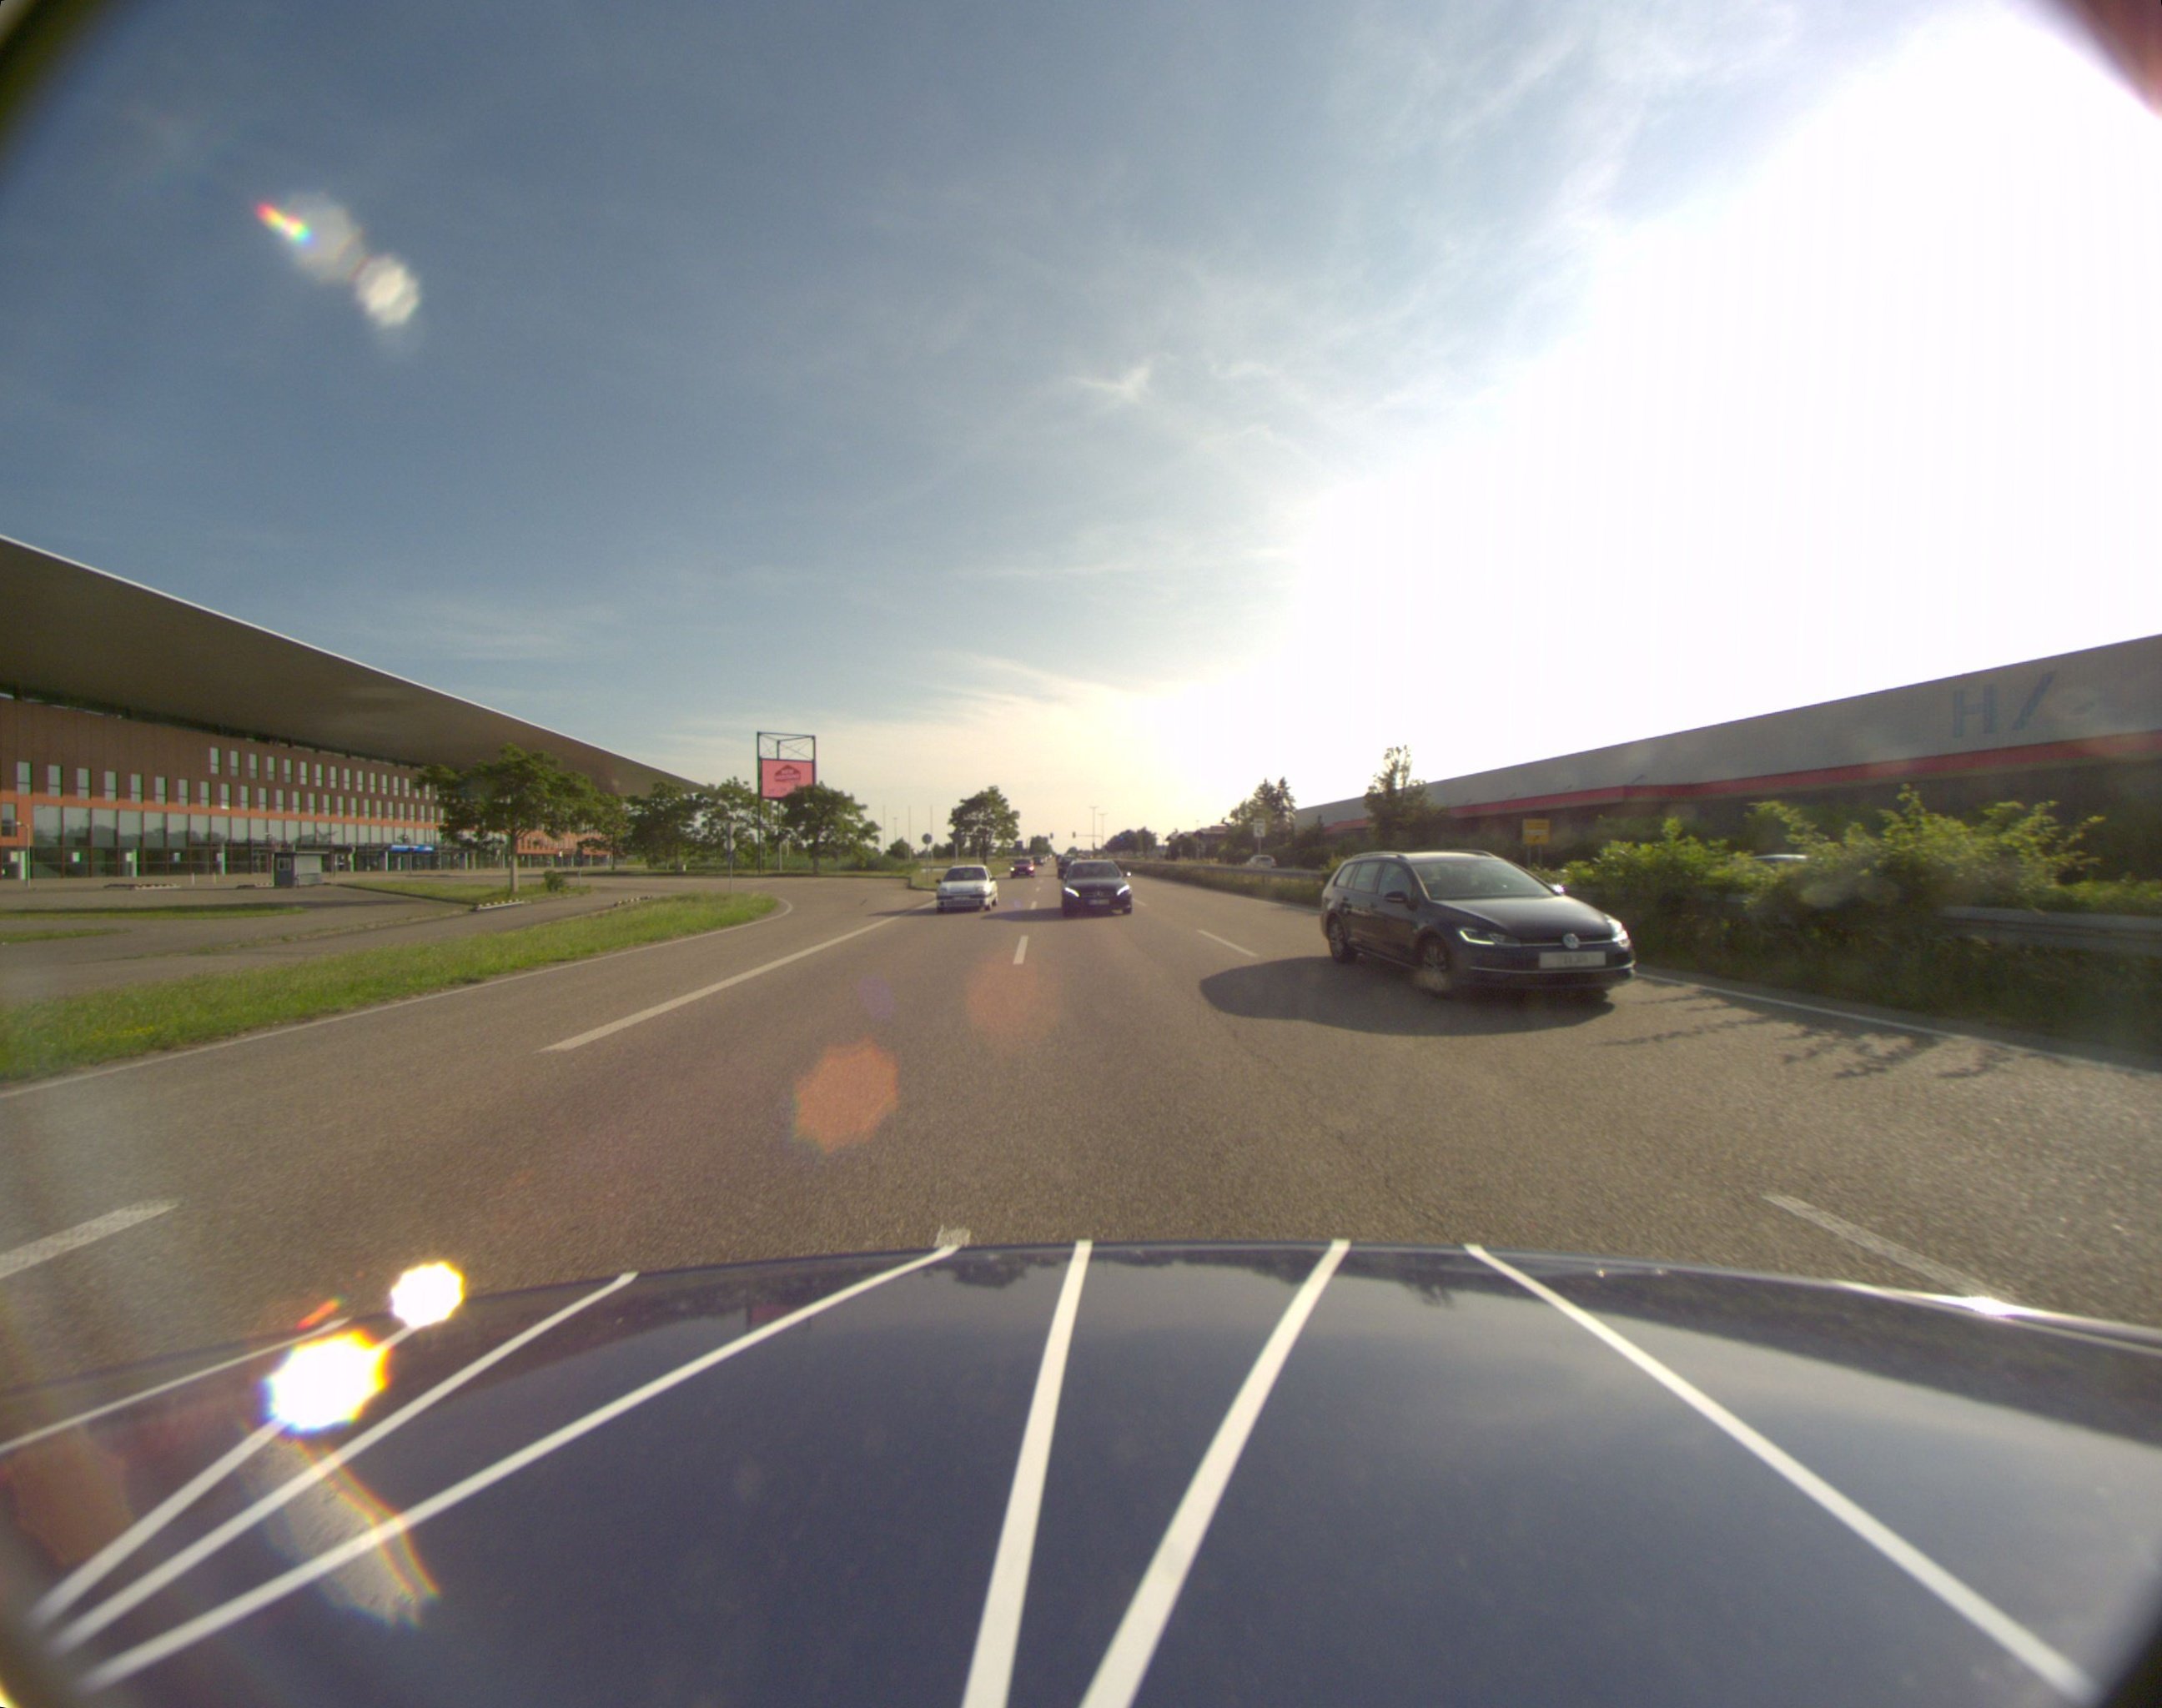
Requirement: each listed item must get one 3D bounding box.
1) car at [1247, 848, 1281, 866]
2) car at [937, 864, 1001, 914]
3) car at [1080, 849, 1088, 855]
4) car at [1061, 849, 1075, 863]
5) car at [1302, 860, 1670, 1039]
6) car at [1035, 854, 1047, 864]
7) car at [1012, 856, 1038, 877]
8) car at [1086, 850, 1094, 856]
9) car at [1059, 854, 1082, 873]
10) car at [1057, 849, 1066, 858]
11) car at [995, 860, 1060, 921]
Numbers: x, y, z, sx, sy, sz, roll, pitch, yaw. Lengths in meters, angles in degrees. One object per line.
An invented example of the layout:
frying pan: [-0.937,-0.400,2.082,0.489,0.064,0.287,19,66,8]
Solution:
car: [15.101,0.257,62.945,1.784,1.416,3.999,-1,0,-1]
car: [-3.460,1.054,23.972,1.578,1.371,3.451,-2,0,-2]
car: [0.866,-0.576,210.124,1.751,1.512,3.738,-2,0,-4]
car: [-1.878,0.242,107.142,1.799,1.926,3.999,-1,0,-2]
car: [4.177,0.835,8.900,1.650,1.462,4.775,-1,0,-2]
car: [-6.019,0.773,114.607,1.751,1.512,3.738,-2,0,-2]
car: [-4.270,0.946,58.299,1.751,1.512,3.738,-2,0,-2]
car: [2.100,-0.203,183.304,1.711,1.428,3.564,-2,0,-2]
car: [-0.902,0.770,62.177,1.758,1.499,3.421,-1,0,-2]
car: [-4.215,-0.162,166.171,1.999,2.002,3.999,-1,0,-2]
car: [-1.405,0.929,21.464,1.577,1.462,5.021,-1,0,-1]
